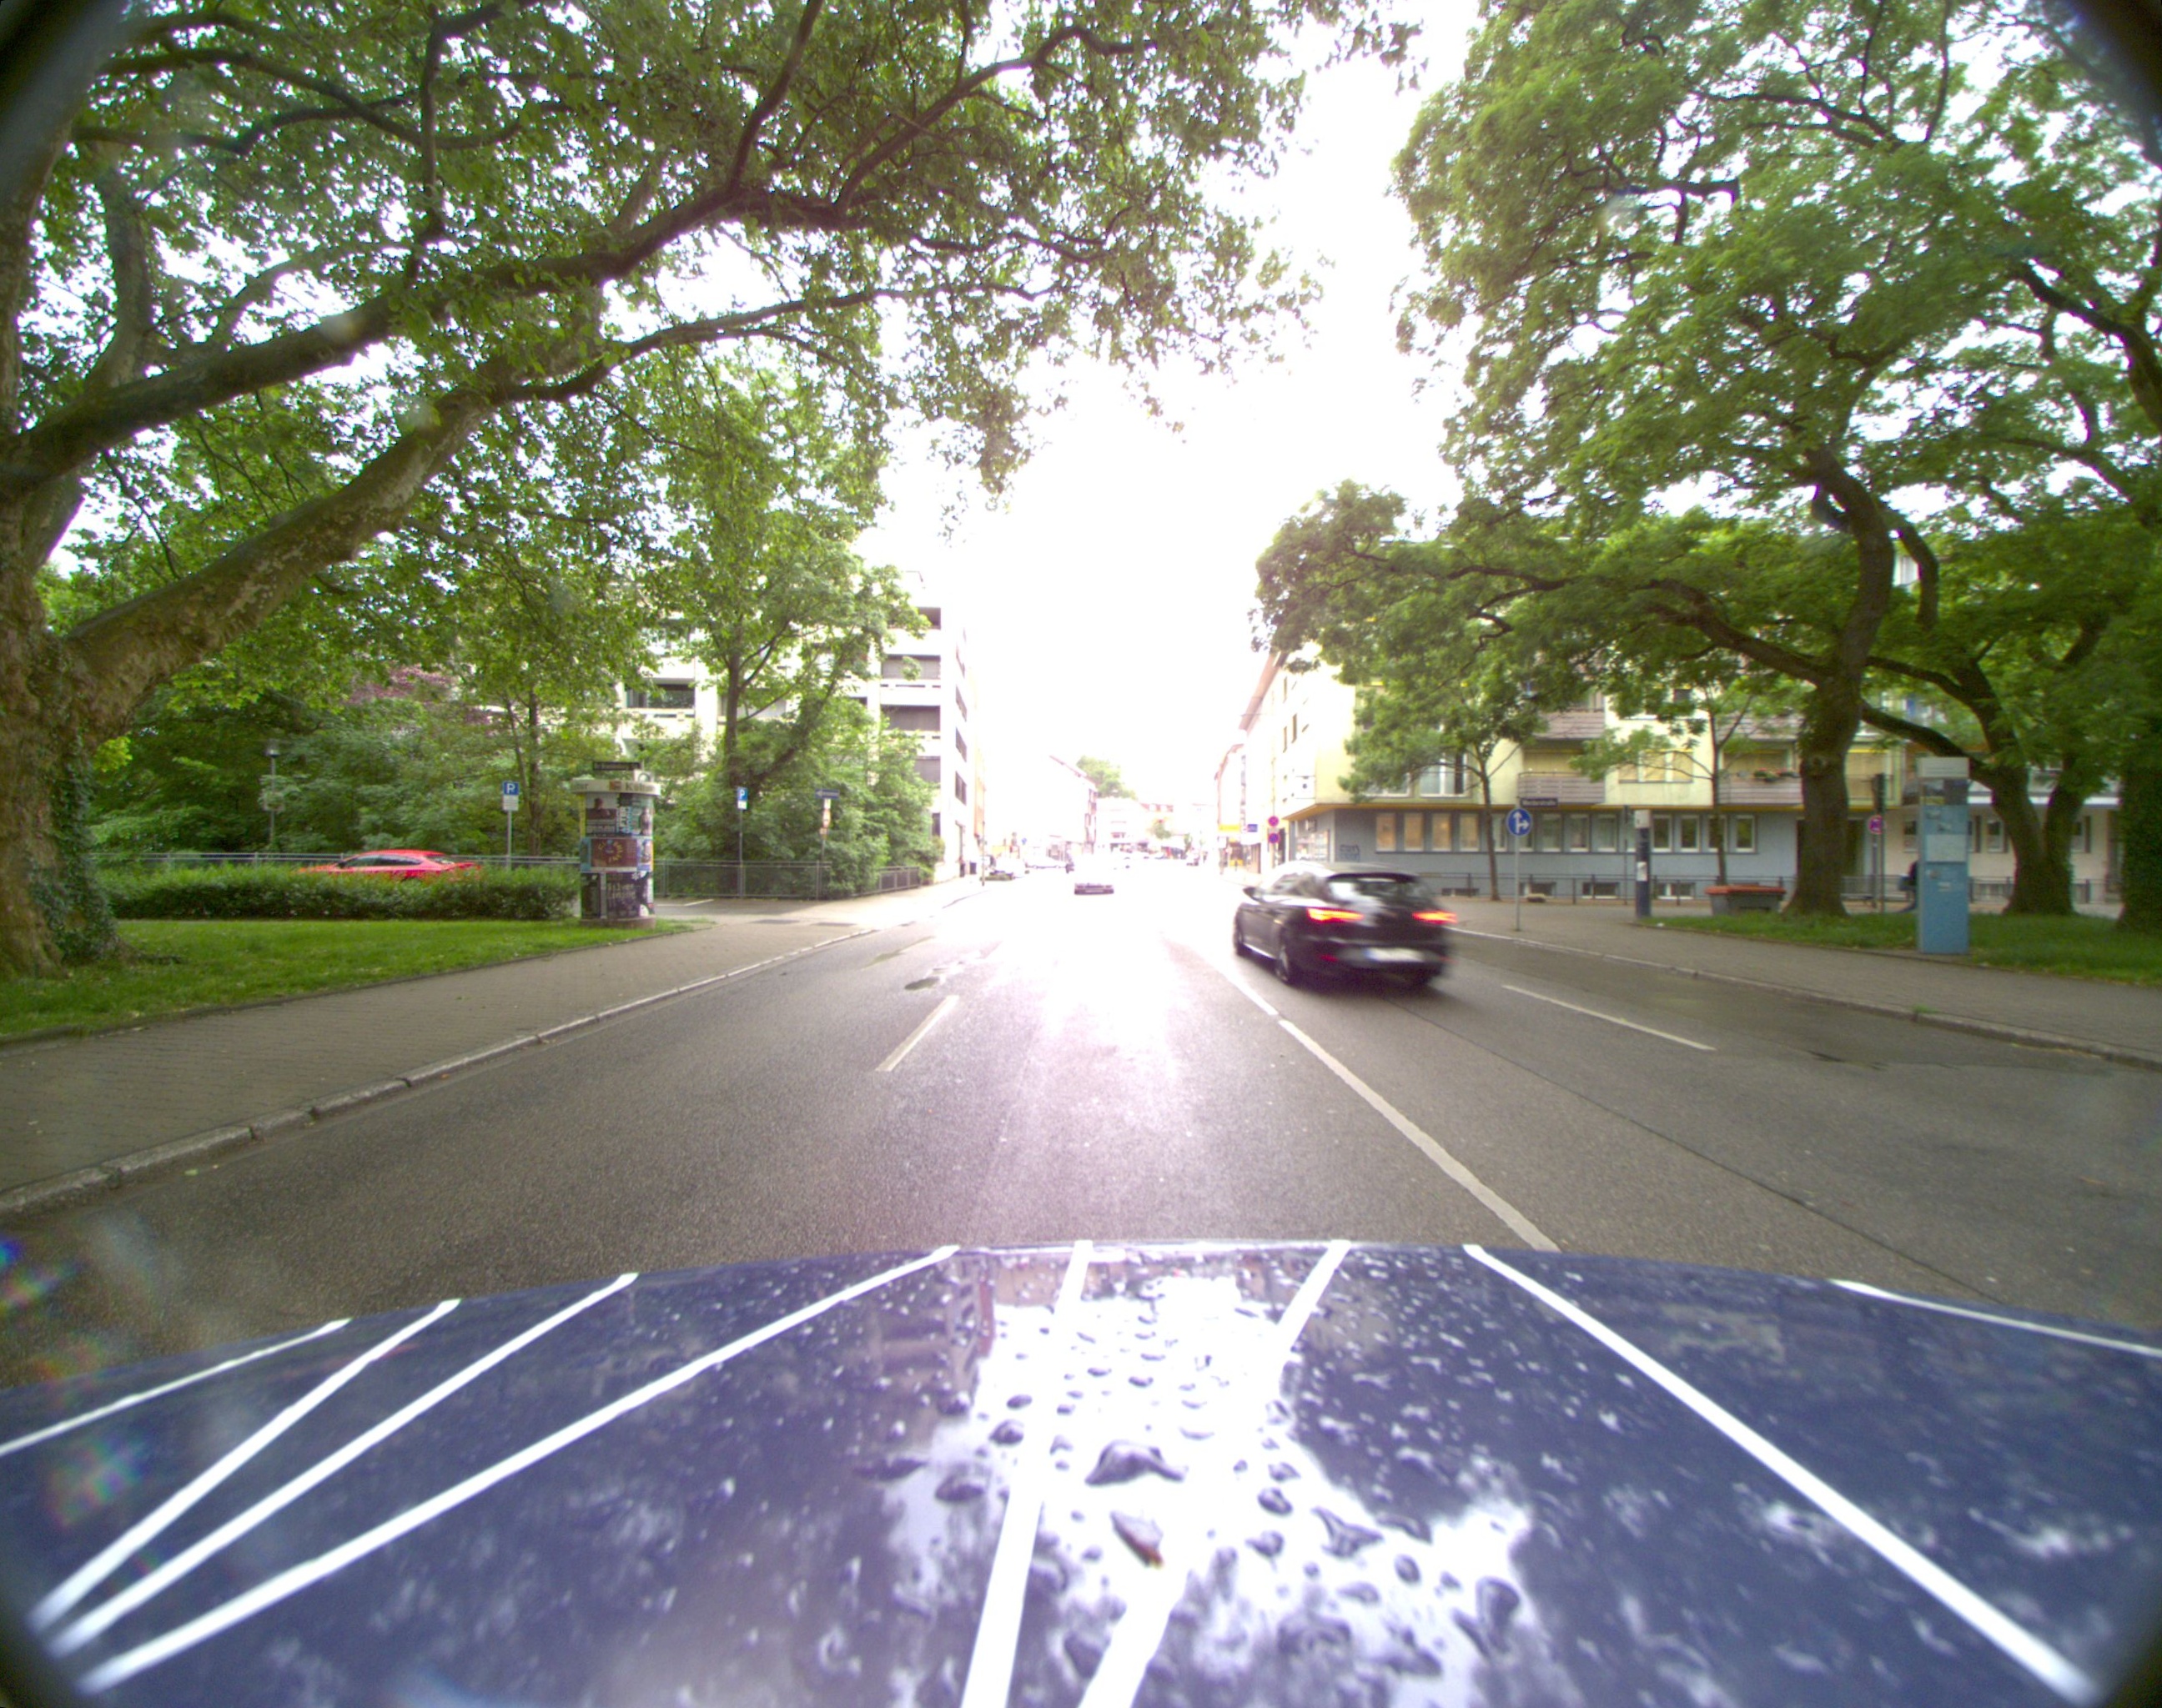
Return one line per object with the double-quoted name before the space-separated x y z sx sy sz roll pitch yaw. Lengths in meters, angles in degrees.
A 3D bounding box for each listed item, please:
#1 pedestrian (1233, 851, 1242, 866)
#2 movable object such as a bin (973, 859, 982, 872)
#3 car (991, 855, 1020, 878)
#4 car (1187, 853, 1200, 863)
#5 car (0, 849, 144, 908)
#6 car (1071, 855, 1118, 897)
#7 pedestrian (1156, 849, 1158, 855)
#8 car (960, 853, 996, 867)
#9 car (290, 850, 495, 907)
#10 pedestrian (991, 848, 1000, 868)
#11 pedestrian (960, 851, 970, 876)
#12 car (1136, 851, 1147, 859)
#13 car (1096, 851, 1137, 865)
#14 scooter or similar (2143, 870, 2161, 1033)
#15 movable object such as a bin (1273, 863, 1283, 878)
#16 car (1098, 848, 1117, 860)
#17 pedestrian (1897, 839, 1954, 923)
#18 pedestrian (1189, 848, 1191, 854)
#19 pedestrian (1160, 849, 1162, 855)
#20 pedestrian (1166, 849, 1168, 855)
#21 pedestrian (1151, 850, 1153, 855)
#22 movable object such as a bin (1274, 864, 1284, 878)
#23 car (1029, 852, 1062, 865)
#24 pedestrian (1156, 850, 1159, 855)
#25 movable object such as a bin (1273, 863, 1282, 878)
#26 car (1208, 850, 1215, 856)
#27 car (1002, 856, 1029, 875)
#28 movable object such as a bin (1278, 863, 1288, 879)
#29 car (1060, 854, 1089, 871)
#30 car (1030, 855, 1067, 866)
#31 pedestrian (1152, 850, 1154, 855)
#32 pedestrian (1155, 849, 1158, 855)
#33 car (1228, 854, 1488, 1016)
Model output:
"pedestrian" 17.045 0.494 82.836 0.785 1.578 0.674 -2 0 21
"movable object such as a bin" -8.602 0.938 62.878 0.681 1.097 0.514 0 1 -2
"car" -5.309 0.871 53.664 1.706 1.549 3.804 1 0 -1
"car" 17.954 0.642 121.379 1.834 1.612 4.003 0 0 10
"car" -29.539 0.666 21.400 3.932 1.561 1.735 1 0 -4
"car" 0.552 0.862 31.743 1.756 1.559 4.000 -2 0 1
"pedestrian" 18.373 -0.449 183.101 0.379 1.283 0.401 0 1 38
"car" -12.655 0.711 93.738 4.157 1.576 1.801 1 0 -1
"car" -19.561 0.673 21.750 3.999 1.473 1.875 1 1 -5
"pedestrian" -9.398 0.467 83.232 0.806 2.140 0.737 0 1 -23
"pedestrian" -8.003 0.645 52.488 0.599 1.650 0.691 3 0 -7
"car" 12.800 0.231 160.875 2.043 1.754 4.573 1 0 9
"car" 4.385 0.478 94.107 4.694 1.559 1.755 -2 0 -16
"scooter or similar" 9.970 0.873 6.122 0.816 1.437 1.398 0 1 0
"movable object such as a bin" 12.798 1.089 49.302 0.529 0.922 0.426 -4 0 8
"car" 4.002 0.055 114.070 2.015 1.754 4.767 1 0 12
"pedestrian" 20.612 0.634 18.564 0.780 2.002 0.754 0 1 36
"pedestrian" 24.996 -0.646 173.563 0.400 1.283 0.380 0 1 1
"pedestrian" 18.864 -0.432 178.721 0.379 1.283 0.401 1 1 39
"pedestrian" 19.921 -0.455 176.290 0.399 1.283 0.380 0 1 10
"pedestrian" 16.778 -0.357 180.227 0.379 1.283 0.401 1 1 38
"movable object such as a bin" 12.733 1.093 48.819 0.529 0.890 0.435 -4 0 8
"car" -4.558 0.634 97.498 4.196 1.596 1.481 1 0 1
"pedestrian" 18.008 -0.396 178.808 0.379 1.283 0.401 1 1 40
"movable object such as a bin" 12.902 1.101 49.852 0.465 0.922 0.428 -4 0 8
"car" 33.256 -0.307 193.456 1.591 1.518 3.491 0 0 14
"car" -5.163 0.907 60.425 1.835 1.412 4.569 1 0 -1
"movable object such as a bin" 12.819 1.059 48.238 0.529 0.955 0.435 -4 0 8
"car" -0.678 0.811 75.630 1.803 1.575 4.153 1 0 -18
"car" -3.962 0.763 93.552 4.464 1.377 1.475 0 0 -1
"pedestrian" 17.474 -0.425 184.447 0.379 1.283 0.401 0 1 38
"pedestrian" 18.461 -0.476 185.546 0.379 1.283 0.401 1 1 39
"car" 3.205 0.819 9.760 1.850 1.616 4.137 1 0 1
